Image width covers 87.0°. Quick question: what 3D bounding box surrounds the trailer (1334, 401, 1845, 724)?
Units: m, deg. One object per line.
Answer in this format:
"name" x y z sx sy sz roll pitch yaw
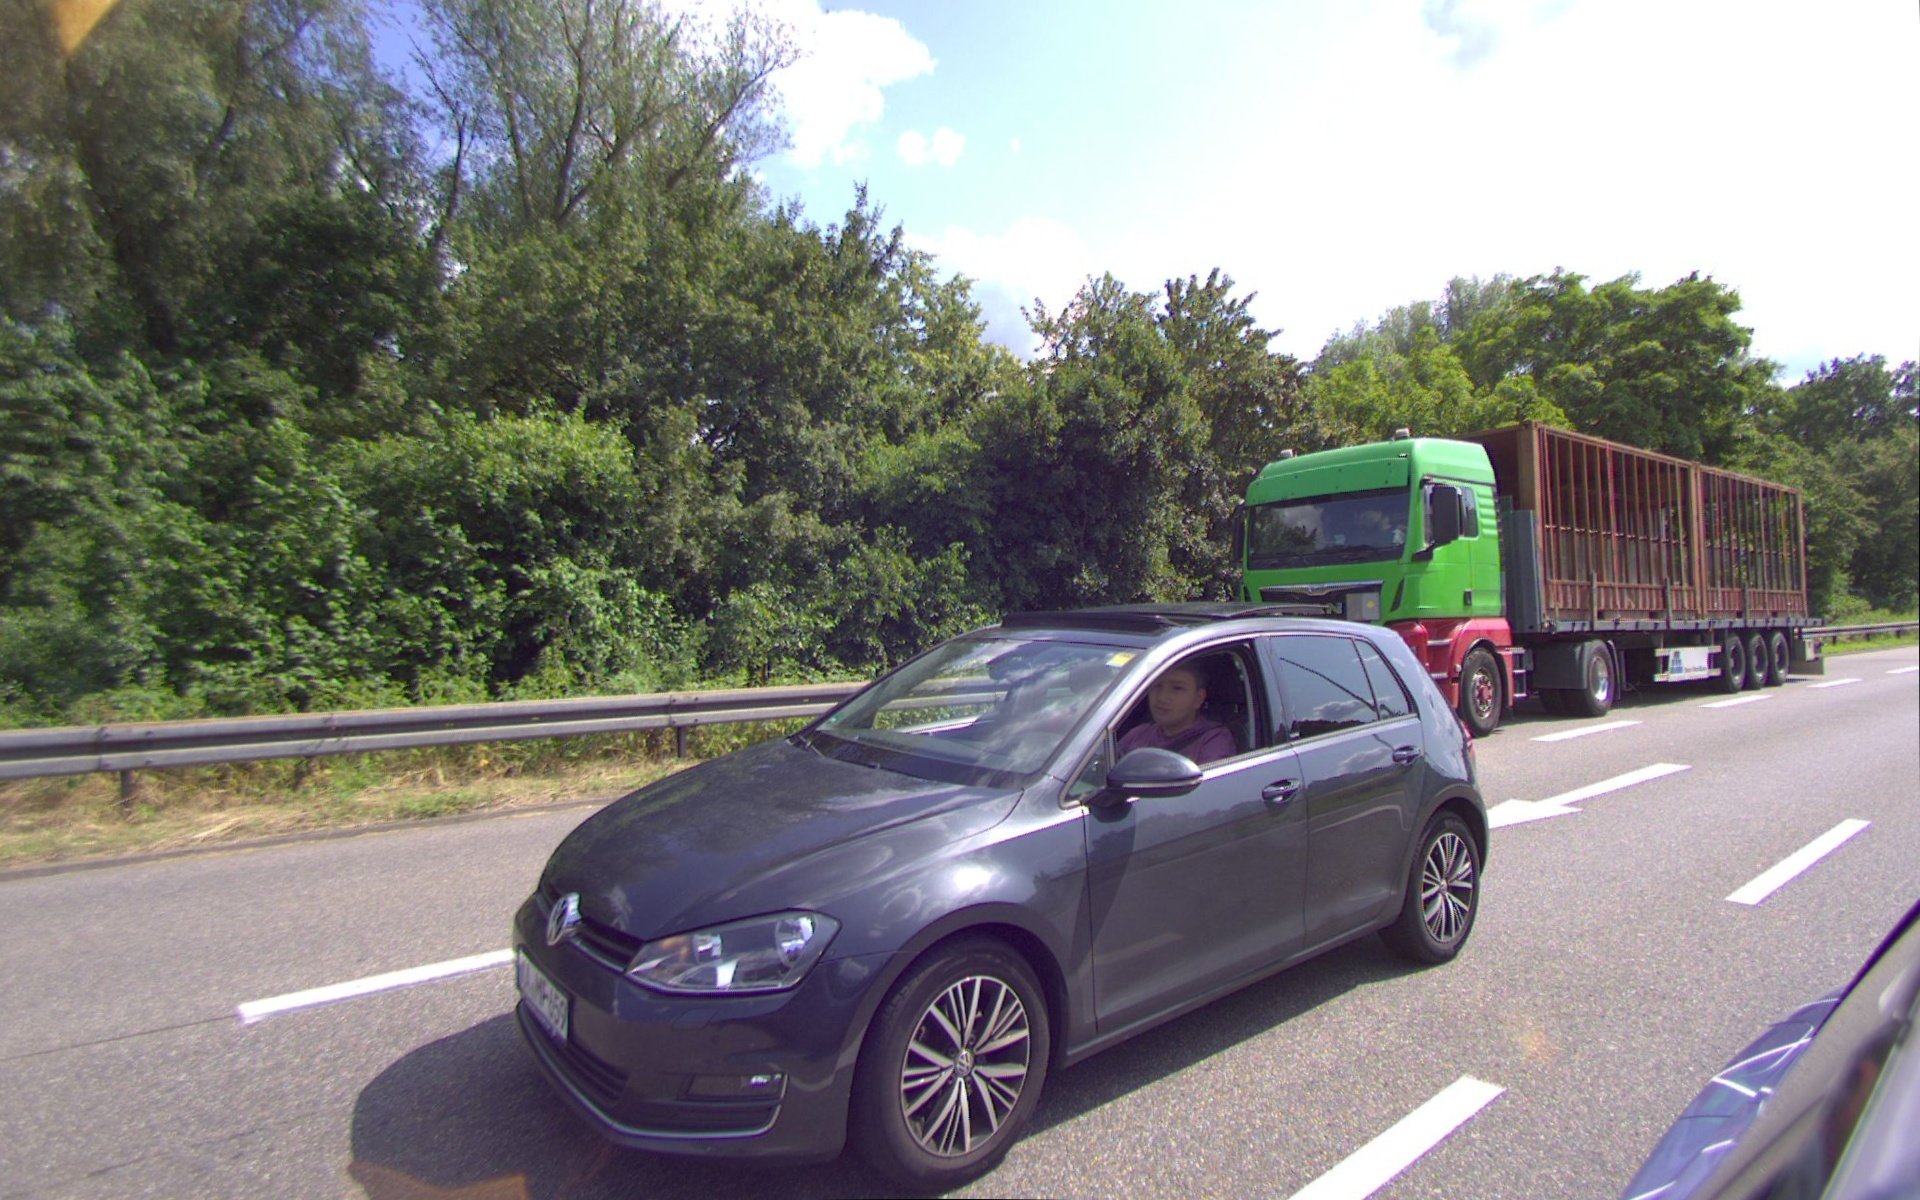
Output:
"trailer" 11.818 -0.415 17.693 14.233 3.944 2.591 0 -3 -38

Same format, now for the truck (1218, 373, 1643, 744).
"truck" 6.462 -0.405 13.587 5.949 3.945 2.591 0 -3 -37

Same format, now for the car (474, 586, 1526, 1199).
"car" 0.442 0.730 3.975 3.973 1.495 1.735 0 -1 -39
